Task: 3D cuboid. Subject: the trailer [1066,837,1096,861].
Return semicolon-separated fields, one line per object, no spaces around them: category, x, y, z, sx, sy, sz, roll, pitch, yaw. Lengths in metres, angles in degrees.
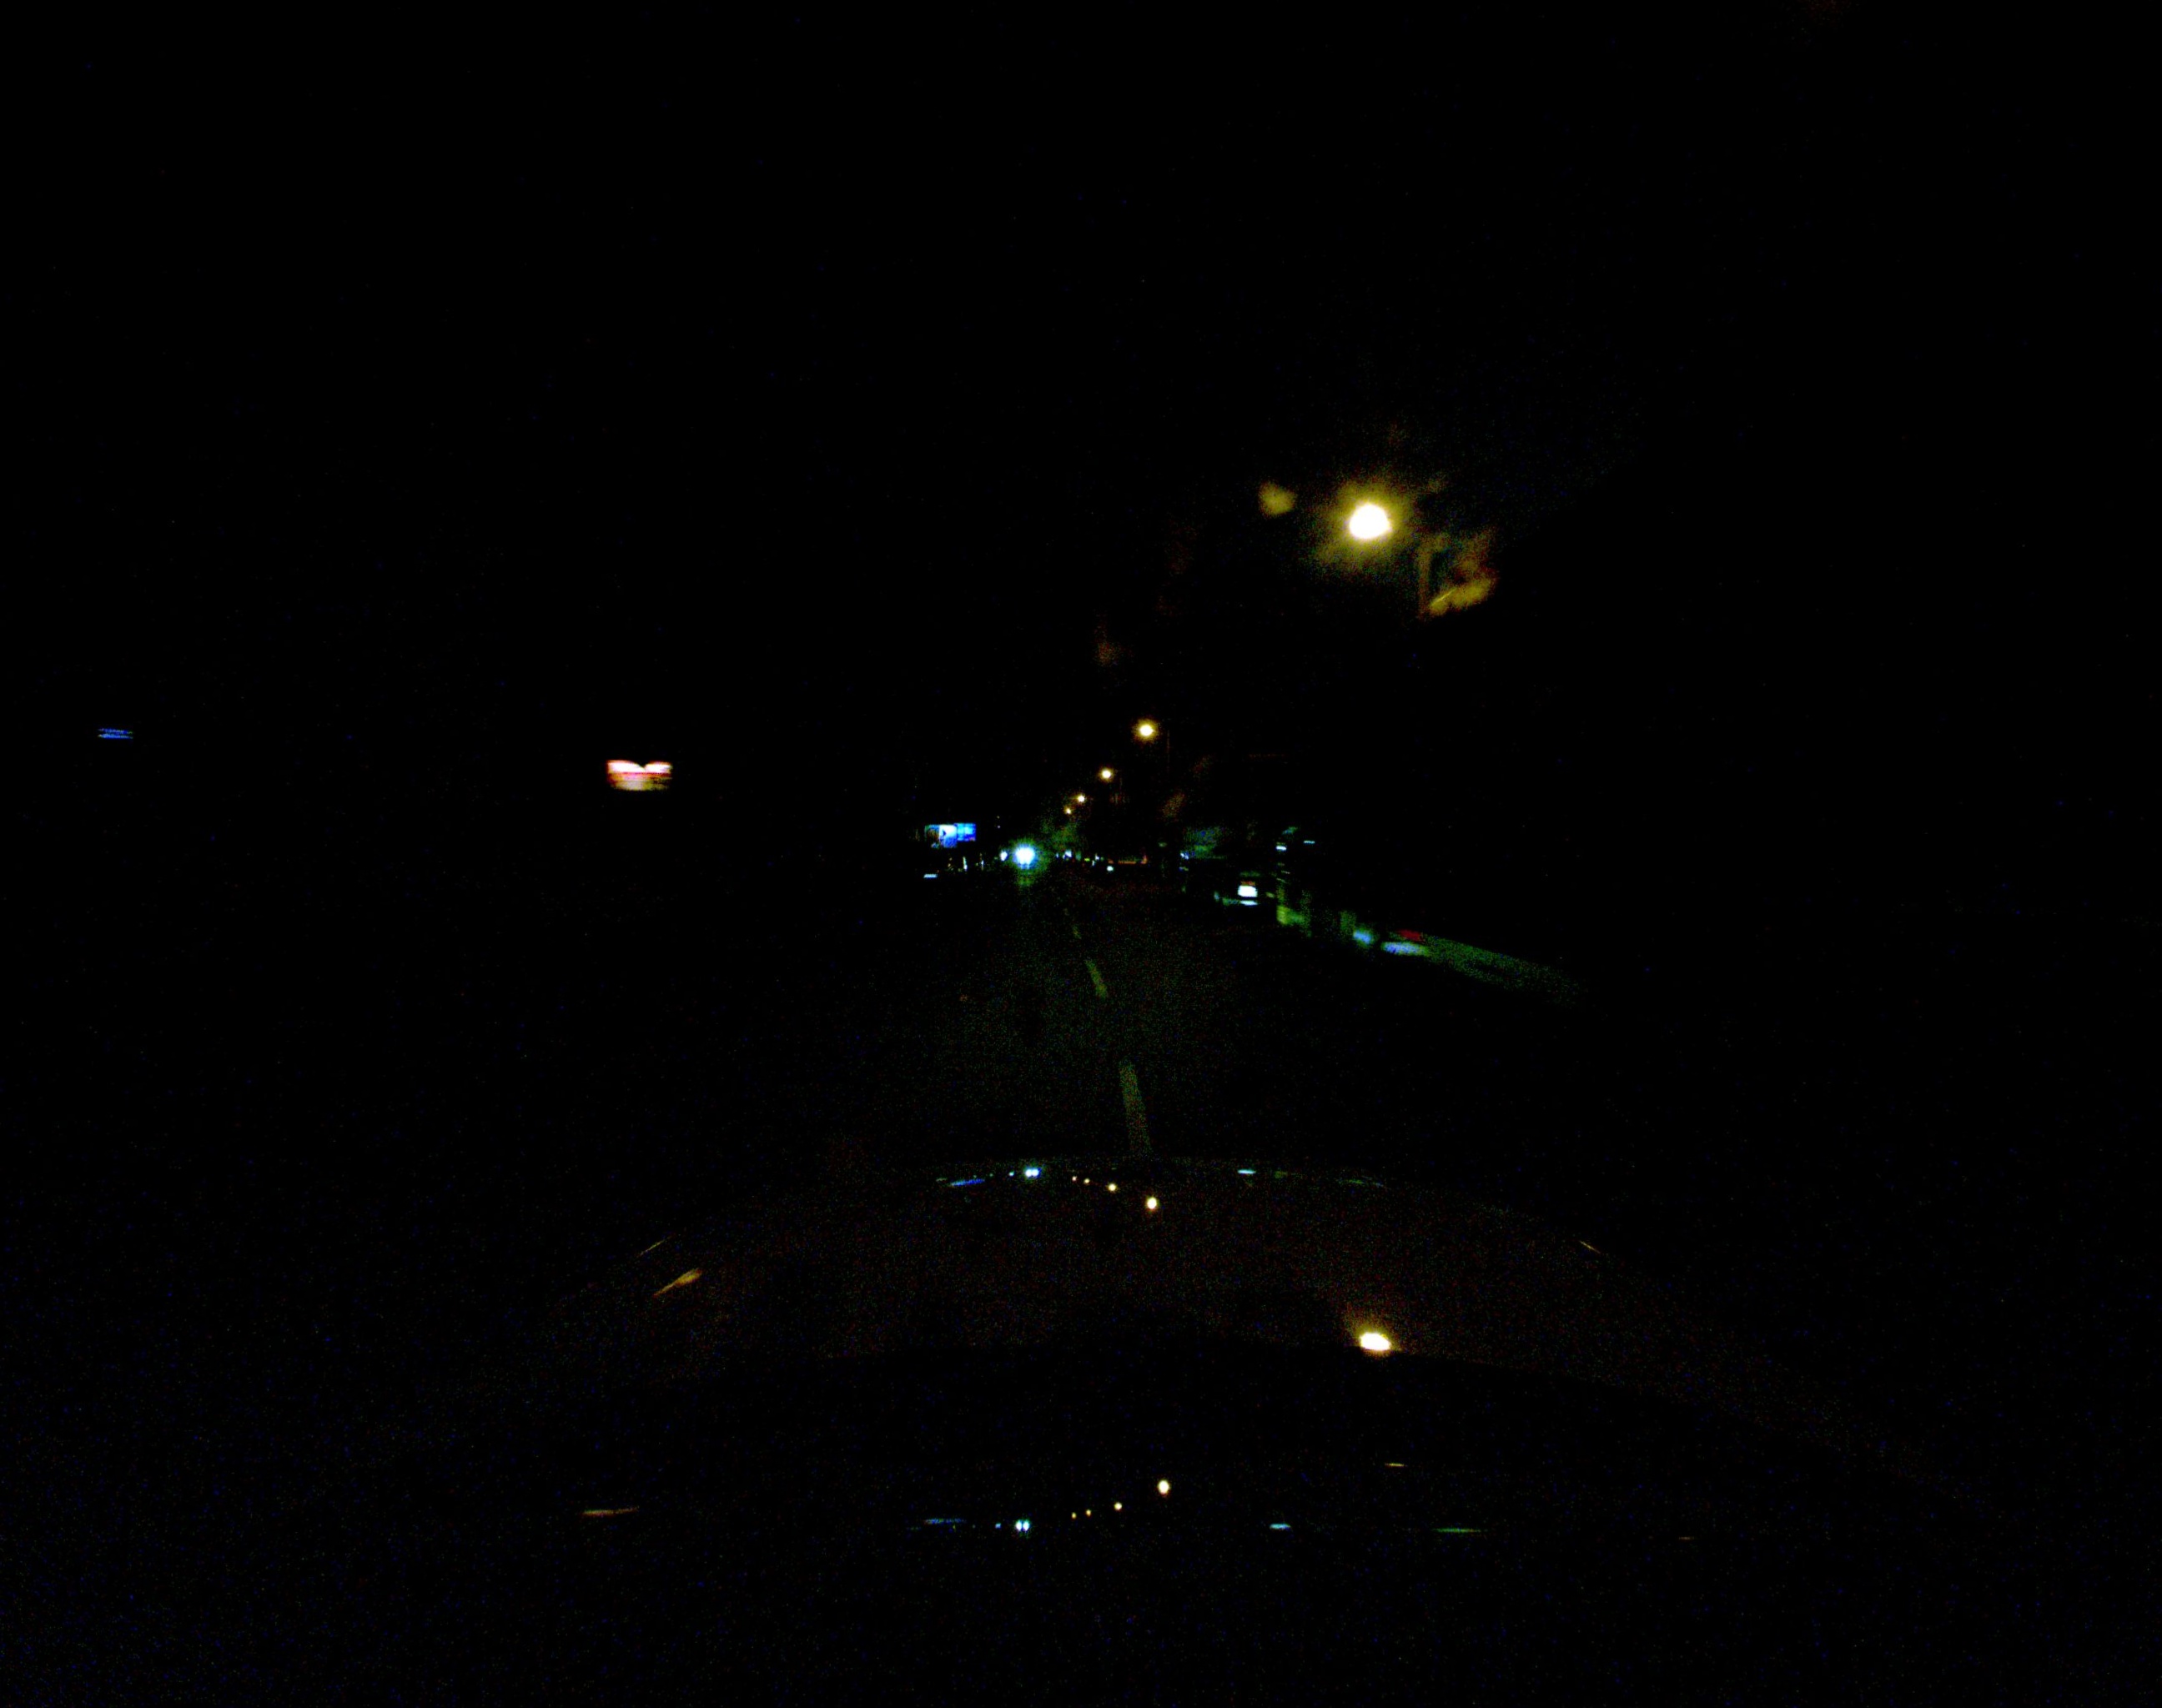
trailer;-0.130;-0.564;101.398;3.177;2.749;10.701;0;0;-3

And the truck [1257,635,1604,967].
truck;4.868;-0.634;12.828;2.821;3.983;6.048;0;0;-1

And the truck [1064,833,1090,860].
truck;-0.552;-0.906;108.521;3.145;3.463;6.665;0;0;-3

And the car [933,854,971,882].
car;-6.831;0.705;43.434;1.598;1.354;3.995;1;0;-4

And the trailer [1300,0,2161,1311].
trailer;4.753;-0.606;6.105;2.798;3.983;13.978;0;0;1

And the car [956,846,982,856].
car;-19.095;-0.469;138.829;4.012;1.595;1.981;0;0;-30

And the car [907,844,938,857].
car;-21.514;-0.454;110.538;3.982;1.651;1.996;1;0;-7

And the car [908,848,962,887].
car;-6.743;0.600;38.087;1.990;1.636;4.766;2;0;-5

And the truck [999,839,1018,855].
truck;-17.016;-1.736;191.312;3.889;3.621;8.235;1;0;-9

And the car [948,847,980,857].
car;-18.786;-0.318;130.392;4.637;1.485;1.983;1;0;-26

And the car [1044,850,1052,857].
car;-8.755;-0.176;212.731;1.989;1.684;3.995;1;0;-3

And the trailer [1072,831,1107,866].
trailer;0.805;-0.563;85.112;2.683;3.464;7.793;2;0;-6

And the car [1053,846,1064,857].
car;-4.455;-0.476;162.612;1.989;2.145;3.995;1;0;-3

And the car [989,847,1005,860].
car;-11.819;-0.123;114.429;1.989;1.794;3.995;1;0;-3

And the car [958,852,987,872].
car;-8.243;0.596;62.086;1.837;1.420;3.995;1;0;-3

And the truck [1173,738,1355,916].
truck;4.692;-0.597;23.460;2.821;3.983;10.338;0;0;-1

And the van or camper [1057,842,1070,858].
van or camper;-3.086;-0.694;142.285;1.989;2.581;4.910;1;0;-3

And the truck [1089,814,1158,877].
truck;2.757;-0.549;56.986;3.514;3.983;10.325;0;0;-4

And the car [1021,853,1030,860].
car;-12.072;0.490;177.711;1.989;1.398;3.995;1;0;-3
